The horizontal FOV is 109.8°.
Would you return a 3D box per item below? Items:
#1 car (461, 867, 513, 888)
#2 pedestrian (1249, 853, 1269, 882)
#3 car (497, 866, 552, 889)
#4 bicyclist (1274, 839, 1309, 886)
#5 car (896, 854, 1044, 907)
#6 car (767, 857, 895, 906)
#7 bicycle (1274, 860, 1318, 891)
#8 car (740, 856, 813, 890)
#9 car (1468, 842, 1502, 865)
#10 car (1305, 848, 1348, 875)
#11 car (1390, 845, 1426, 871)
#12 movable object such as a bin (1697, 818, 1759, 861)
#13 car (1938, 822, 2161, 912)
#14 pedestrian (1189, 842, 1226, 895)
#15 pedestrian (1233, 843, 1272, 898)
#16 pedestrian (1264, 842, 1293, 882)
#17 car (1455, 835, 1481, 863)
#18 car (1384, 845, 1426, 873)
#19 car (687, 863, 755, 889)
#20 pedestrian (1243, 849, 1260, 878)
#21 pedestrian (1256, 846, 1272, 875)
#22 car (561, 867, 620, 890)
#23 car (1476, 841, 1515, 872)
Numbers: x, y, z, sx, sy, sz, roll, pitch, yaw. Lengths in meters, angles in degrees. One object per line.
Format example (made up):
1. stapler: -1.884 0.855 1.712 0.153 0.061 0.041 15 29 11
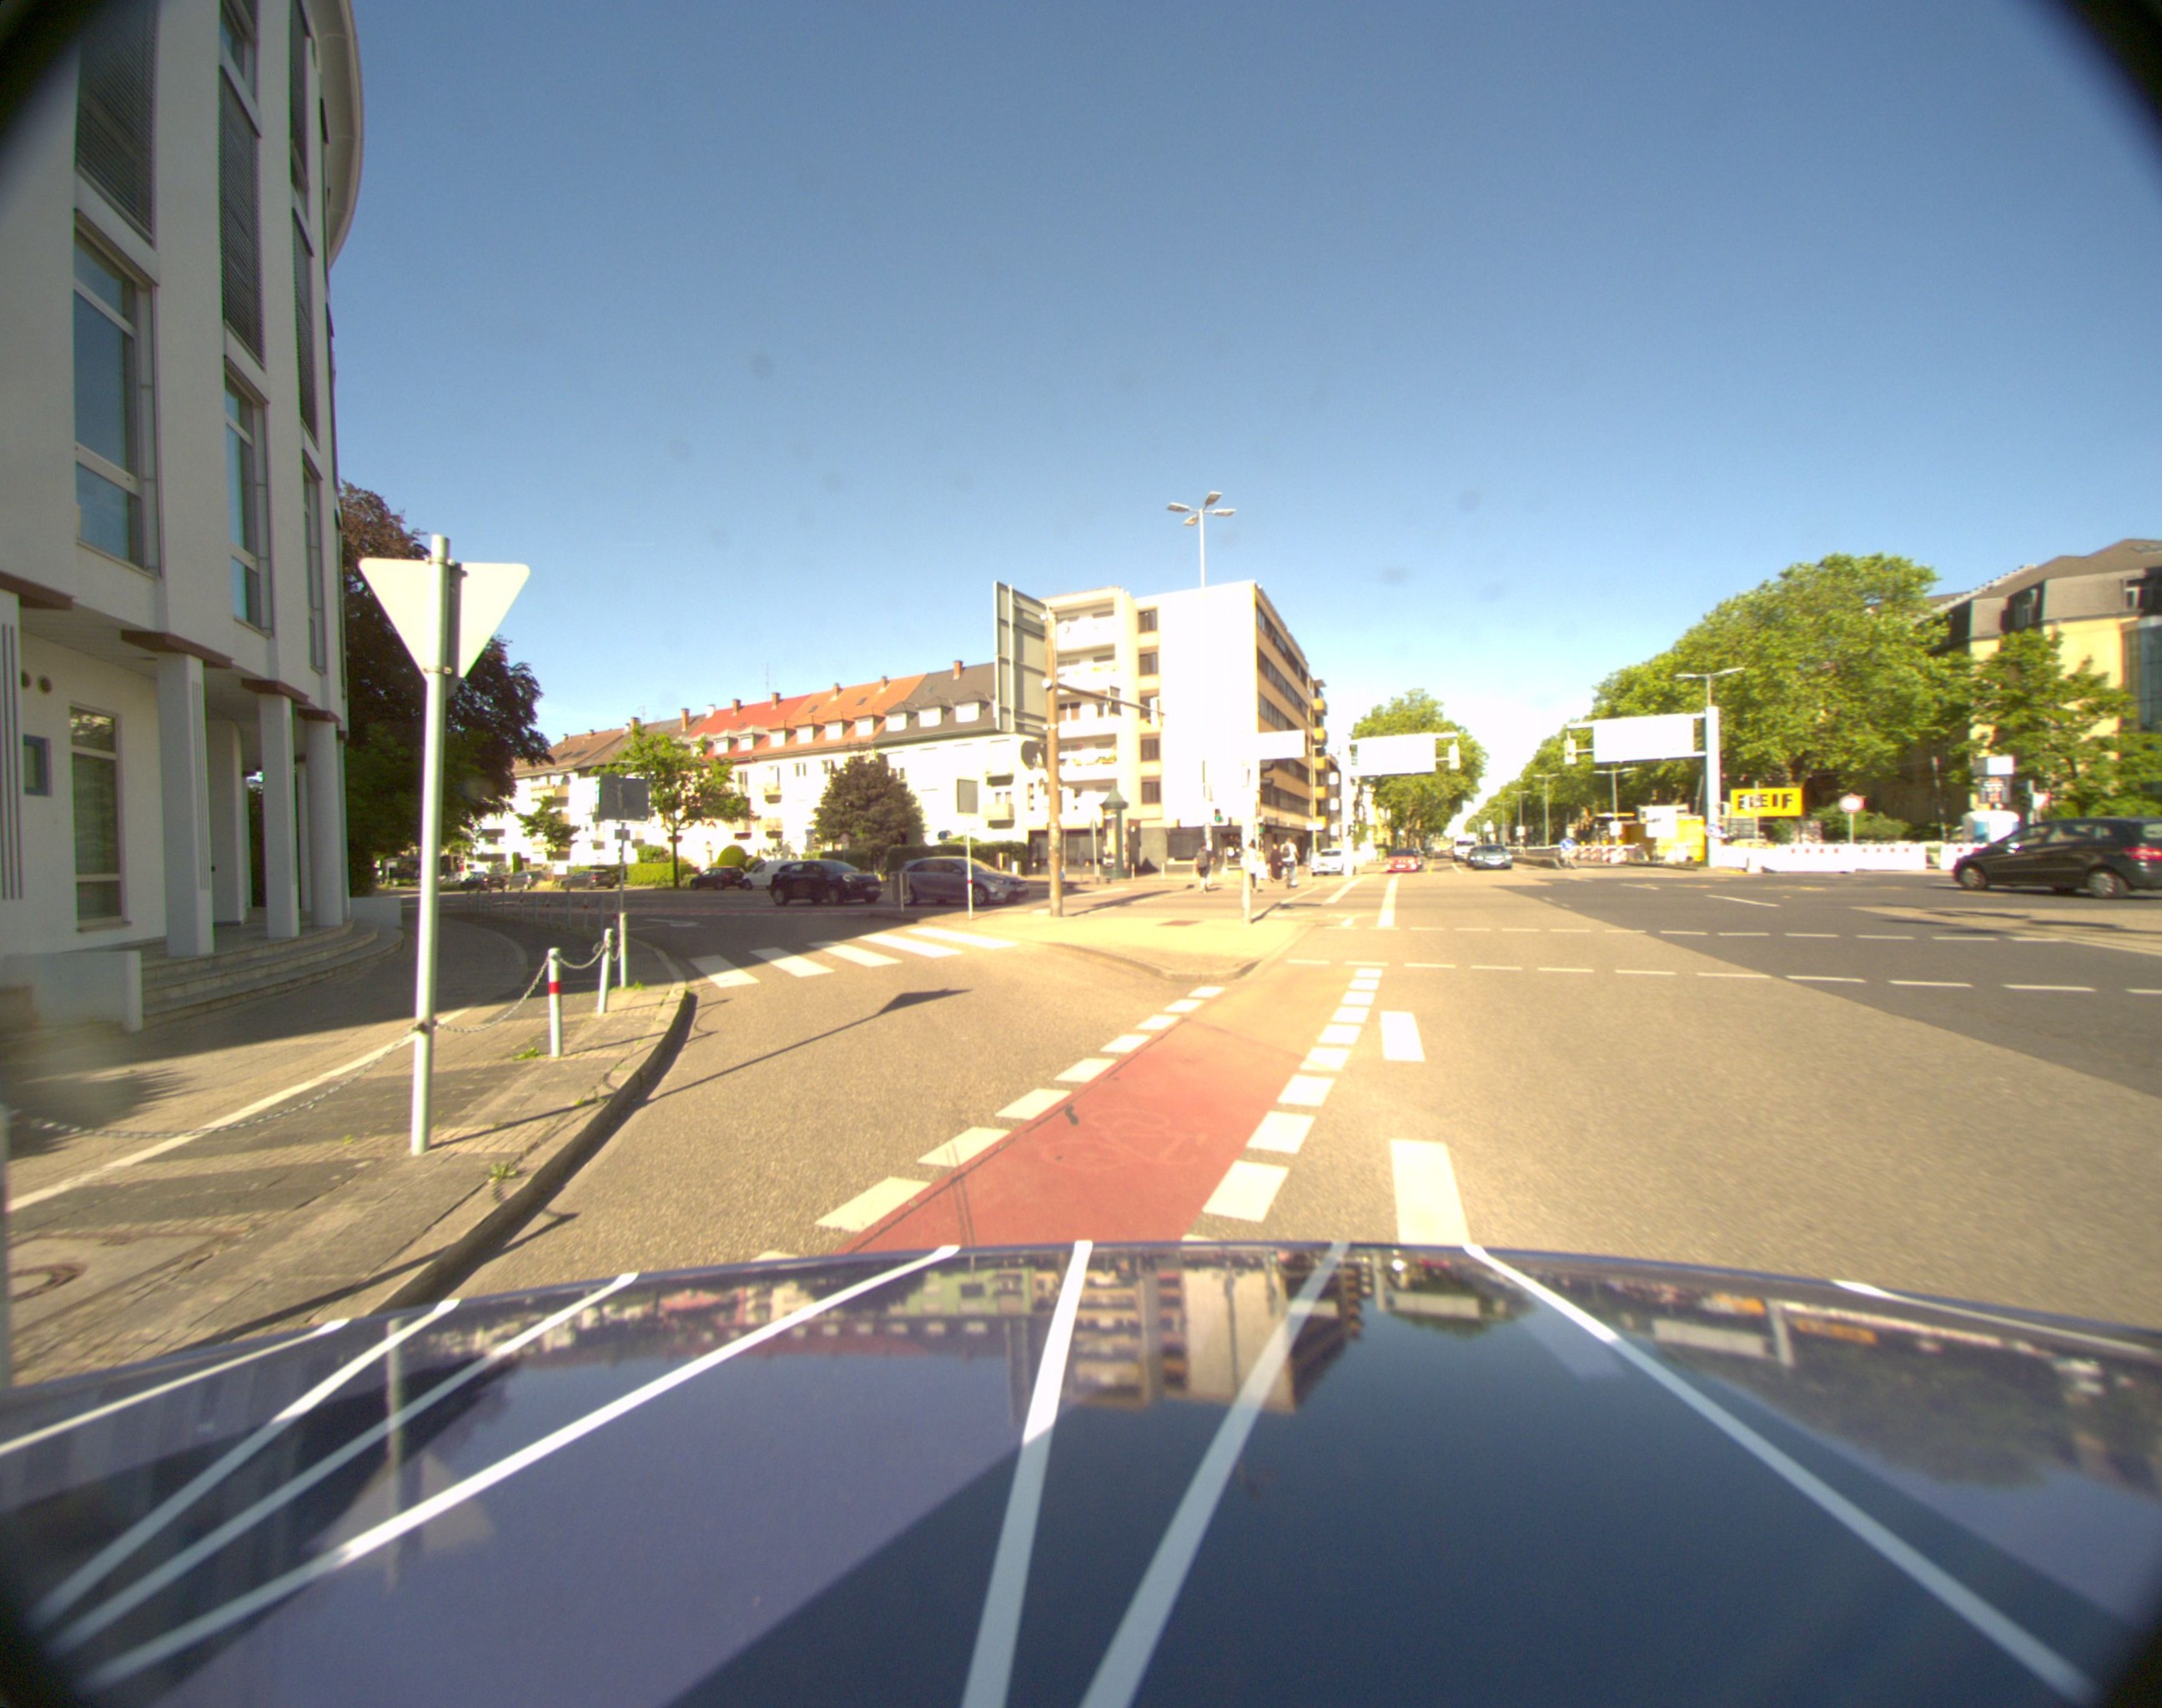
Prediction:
1. car: -49.378 1.969 63.152 4.156 1.553 1.807 -2 3 28
2. pedestrian: 7.632 0.565 32.586 0.646 1.196 0.527 -2 3 33
3. car: -44.043 1.855 60.130 4.156 1.553 1.807 -2 3 28
4. bicyclist: 7.162 0.286 25.831 0.868 1.525 0.854 -1 2 36
5. car: -3.368 0.806 22.939 4.047 1.400 1.887 -2 1 29
6. car: -8.447 0.932 25.605 4.064 1.483 1.699 -2 1 29
7. bicycle: 7.424 0.715 26.202 0.865 0.984 1.906 -1 0 35
8. car: -18.630 1.141 46.455 4.156 1.847 1.807 -2 3 28
9. car: 27.992 -0.036 52.765 1.880 1.510 4.007 -1 0 25
10. car: 14.802 0.466 45.690 1.880 1.509 4.558 -2 -2 25
11. car: 23.081 0.274 53.489 1.880 1.511 4.005 -2 3 29
12. movable object such as a bin: 40.664 -0.946 47.865 1.995 2.462 4.005 -2 3 26
13. car: 20.247 0.180 15.219 1.860 1.576 4.281 -2 0 11
14. pedestrian: 4.161 0.463 25.040 0.797 1.634 0.983 -4 3 -12
15. pedestrian: 5.262 0.486 23.307 0.787 1.599 0.928 -4 3 -12
16. pedestrian: 8.316 0.335 31.977 0.896 1.614 0.722 -2 3 33
17. car: 36.198 -0.473 71.177 1.880 2.498 4.458 -1 0 24
18. car: 19.543 0.298 45.753 1.880 1.510 4.007 -2 0 29
19. car: -23.110 1.415 48.777 4.040 1.422 1.807 -2 3 28
20. pedestrian: 10.128 0.548 45.072 0.719 1.670 0.696 -4 3 -4
21. pedestrian: 11.021 0.401 45.689 0.718 1.670 0.697 -2 3 24
22. car: -35.840 1.763 55.561 3.995 1.450 1.807 -2 3 28
23. car: 24.608 0.138 45.094 1.880 1.511 4.005 -2 3 29
